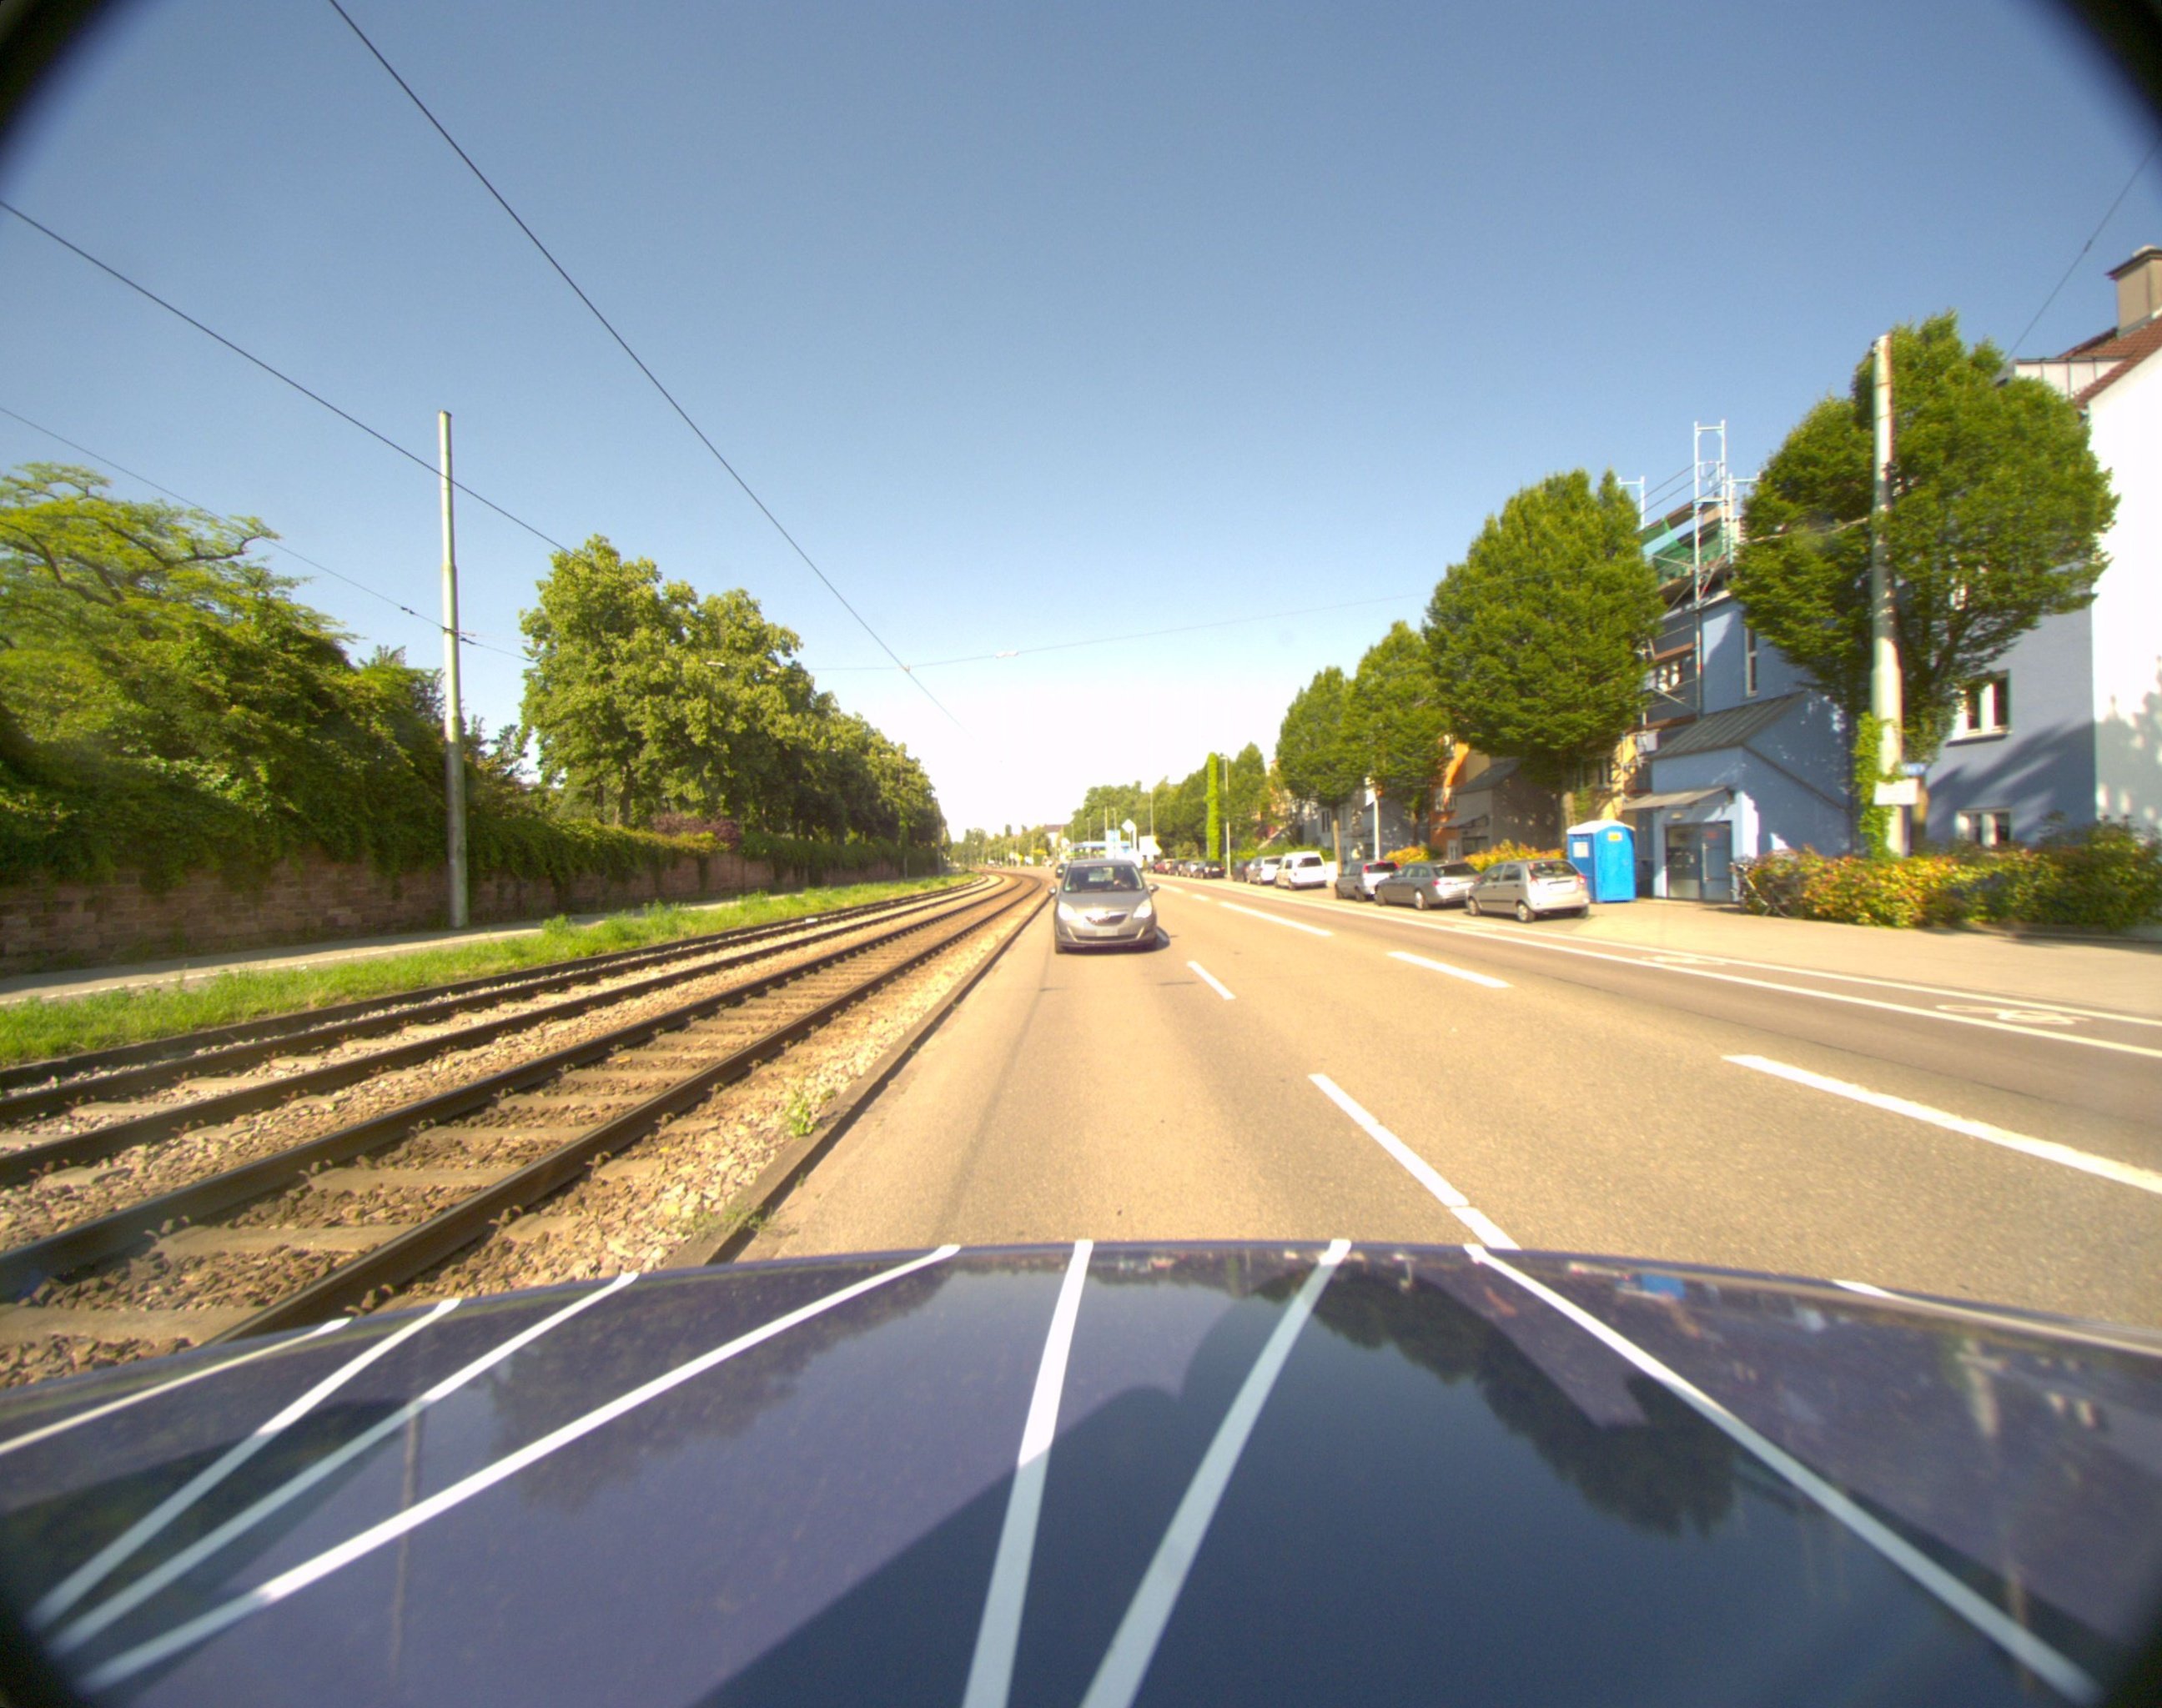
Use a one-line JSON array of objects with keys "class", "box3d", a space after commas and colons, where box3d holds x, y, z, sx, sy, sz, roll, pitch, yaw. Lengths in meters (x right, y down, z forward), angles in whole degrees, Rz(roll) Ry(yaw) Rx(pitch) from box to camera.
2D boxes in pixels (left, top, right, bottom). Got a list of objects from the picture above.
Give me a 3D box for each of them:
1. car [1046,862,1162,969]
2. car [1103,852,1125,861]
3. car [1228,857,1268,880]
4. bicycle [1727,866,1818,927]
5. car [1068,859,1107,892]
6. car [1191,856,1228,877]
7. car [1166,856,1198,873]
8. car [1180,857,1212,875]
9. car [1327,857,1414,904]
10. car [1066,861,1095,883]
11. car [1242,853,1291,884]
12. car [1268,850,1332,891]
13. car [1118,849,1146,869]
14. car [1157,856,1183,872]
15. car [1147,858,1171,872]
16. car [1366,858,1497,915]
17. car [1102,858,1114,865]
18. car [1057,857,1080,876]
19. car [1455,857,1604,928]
[{"class": "car", "box3d": [0.412, 0.962, 13.572, 1.730, 1.573, 3.764, -2, 0, 2]}, {"class": "car", "box3d": [8.108, 0.616, 187.335, 5.086, 1.929, 1.856, -1, 0, -5]}, {"class": "car", "box3d": [11.230, 0.949, 51.232, 1.620, 1.457, 4.057, -3, 0, -2]}, {"class": "bicycle", "box3d": [14.299, 0.852, 15.762, 0.444, 1.147, 1.785, -1, 1, 7]}, {"class": "car", "box3d": [0.270, 1.066, 39.058, 1.710, 1.487, 3.999, -3, 0, -3]}, {"class": "car", "box3d": [10.513, 1.018, 62.562, 1.871, 1.535, 4.908, -4, 0, -3]}, {"class": "car", "box3d": [9.747, 1.012, 73.781, 1.768, 1.564, 4.433, -2, 0, -10]}, {"class": "car", "box3d": [10.283, 1.057, 68.442, 1.717, 1.463, 4.841, -3, 1, -5]}, {"class": "car", "box3d": [11.105, 0.963, 29.487, 1.767, 1.530, 3.981, -6, 0, 1]}, {"class": "car", "box3d": [-0.065, 1.188, 50.932, 1.579, 1.306, 3.998, -3, 0, -4]}, {"class": "car", "box3d": [11.117, 0.832, 45.843, 1.672, 1.691, 4.824, -3, 0, 0]}, {"class": "car", "box3d": [11.296, 0.805, 39.572, 1.767, 1.835, 4.579, -6, 0, -1]}, {"class": "car", "box3d": [6.630, 0.692, 99.768, 2.159, 2.443, 6.179, -4, 0, -9]}, {"class": "car", "box3d": [9.267, 1.071, 79.648, 1.768, 1.565, 4.159, -2, 1, -6]}, {"class": "car", "box3d": [8.642, 1.227, 84.948, 1.657, 1.416, 4.710, -1, 0, -7]}, {"class": "car", "box3d": [11.042, 0.953, 24.364, 1.753, 1.502, 4.754, -6, 0, -2]}, {"class": "car", "box3d": [6.014, 1.702, 169.933, 1.742, 1.481, 4.271, -1, 0, -8]}, {"class": "car", "box3d": [-1.210, 1.138, 71.131, 1.711, 1.581, 3.998, -3, 0, -6]}, {"class": "car", "box3d": [11.216, 0.897, 19.292, 1.605, 1.486, 3.509, -6, 0, 0]}]
